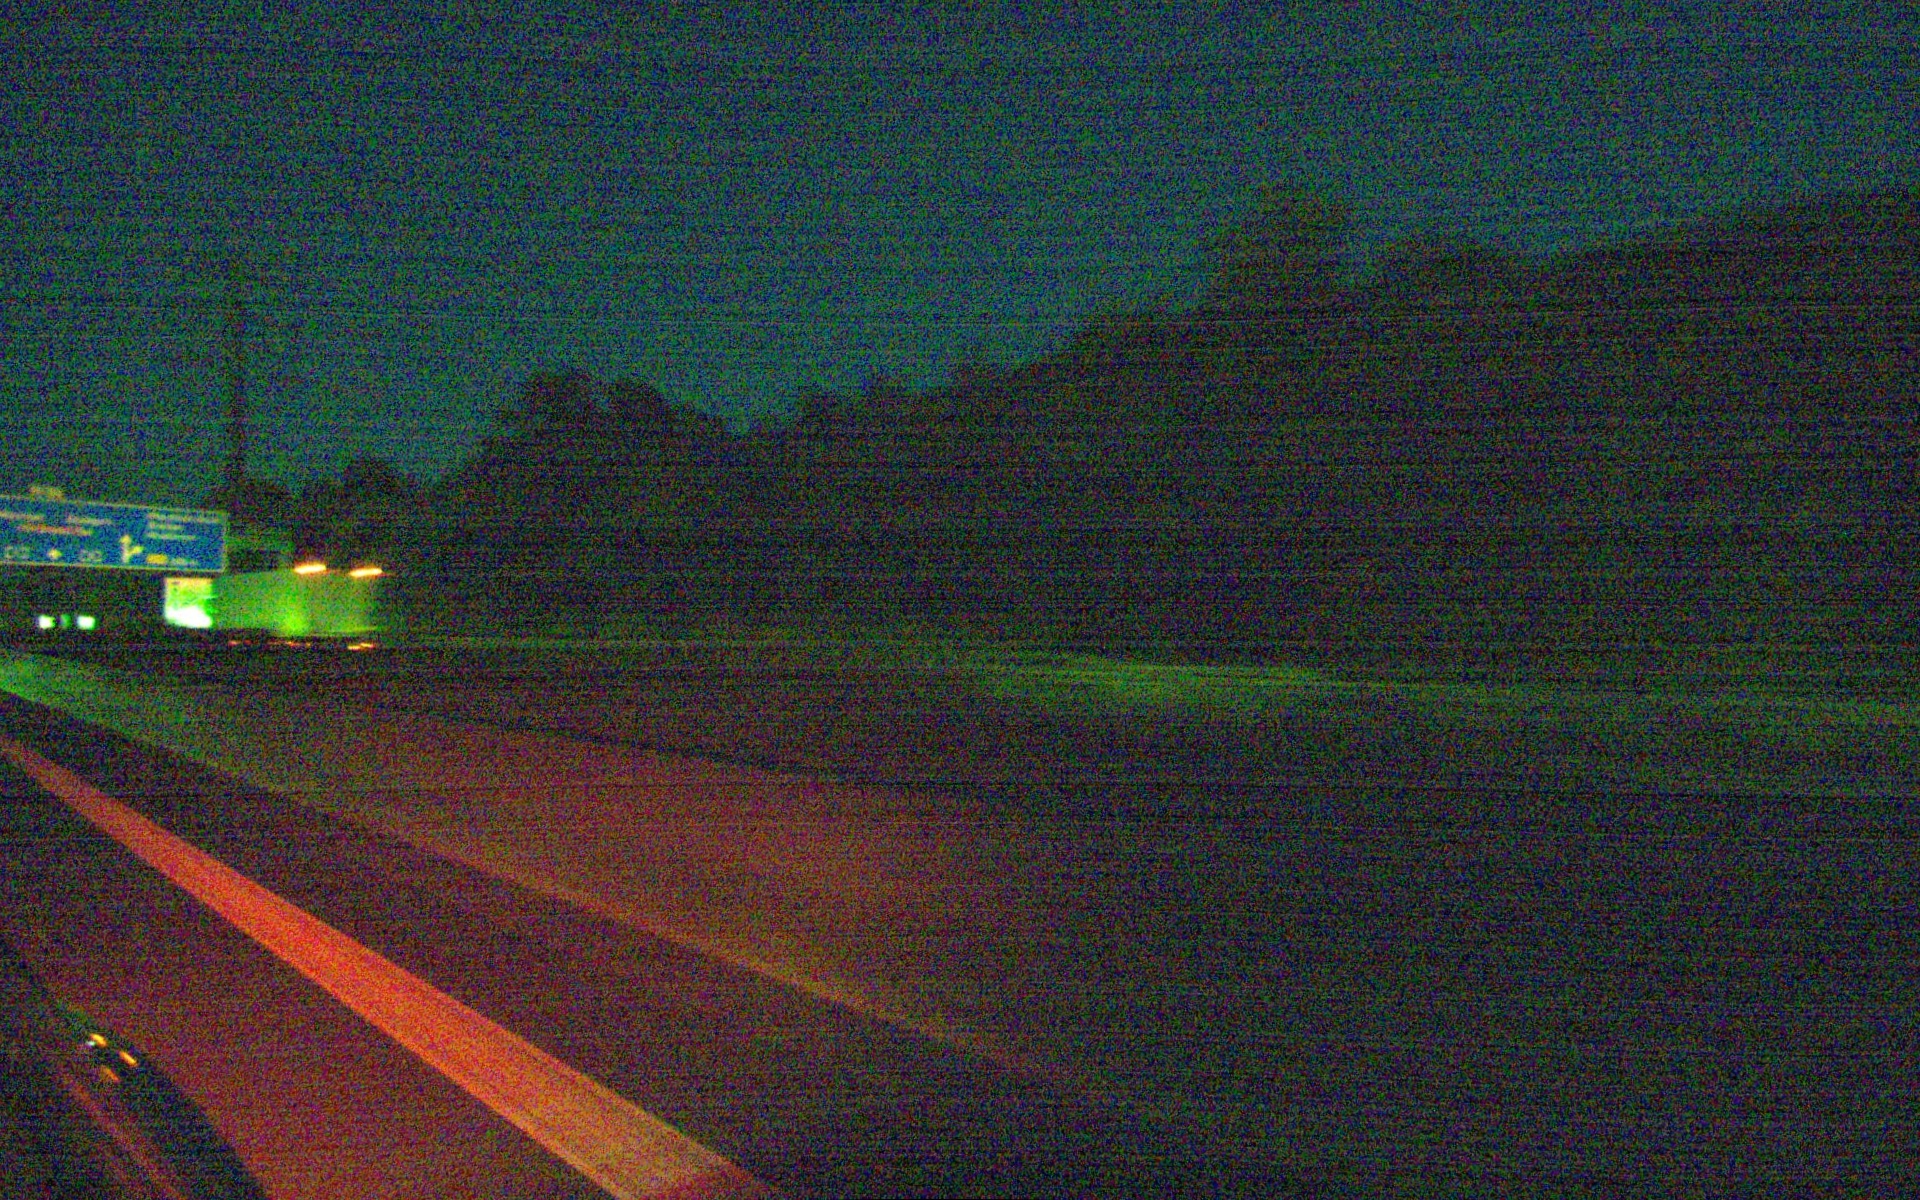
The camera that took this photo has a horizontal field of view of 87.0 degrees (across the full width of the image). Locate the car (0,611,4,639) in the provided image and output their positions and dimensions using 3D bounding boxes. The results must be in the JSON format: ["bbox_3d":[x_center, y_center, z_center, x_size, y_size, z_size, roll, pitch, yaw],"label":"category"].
[{"bbox_3d":[-74.601,2.002,76.942,6.941,2.029,2.185,-3,-1,42],"label":"car"}]

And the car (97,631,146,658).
[{"bbox_3d":[-59.520,3.190,71.831,4.496,1.774,1.880,-3,-1,40],"label":"car"}]

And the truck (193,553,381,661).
[{"bbox_3d":[-33.293,0.627,49.403,17.430,4.523,3.213,-3,-1,42],"label":"truck"}]

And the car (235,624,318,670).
[{"bbox_3d":[-26.050,1.790,38.520,3.997,1.599,1.617,-3,-1,41],"label":"car"}]
